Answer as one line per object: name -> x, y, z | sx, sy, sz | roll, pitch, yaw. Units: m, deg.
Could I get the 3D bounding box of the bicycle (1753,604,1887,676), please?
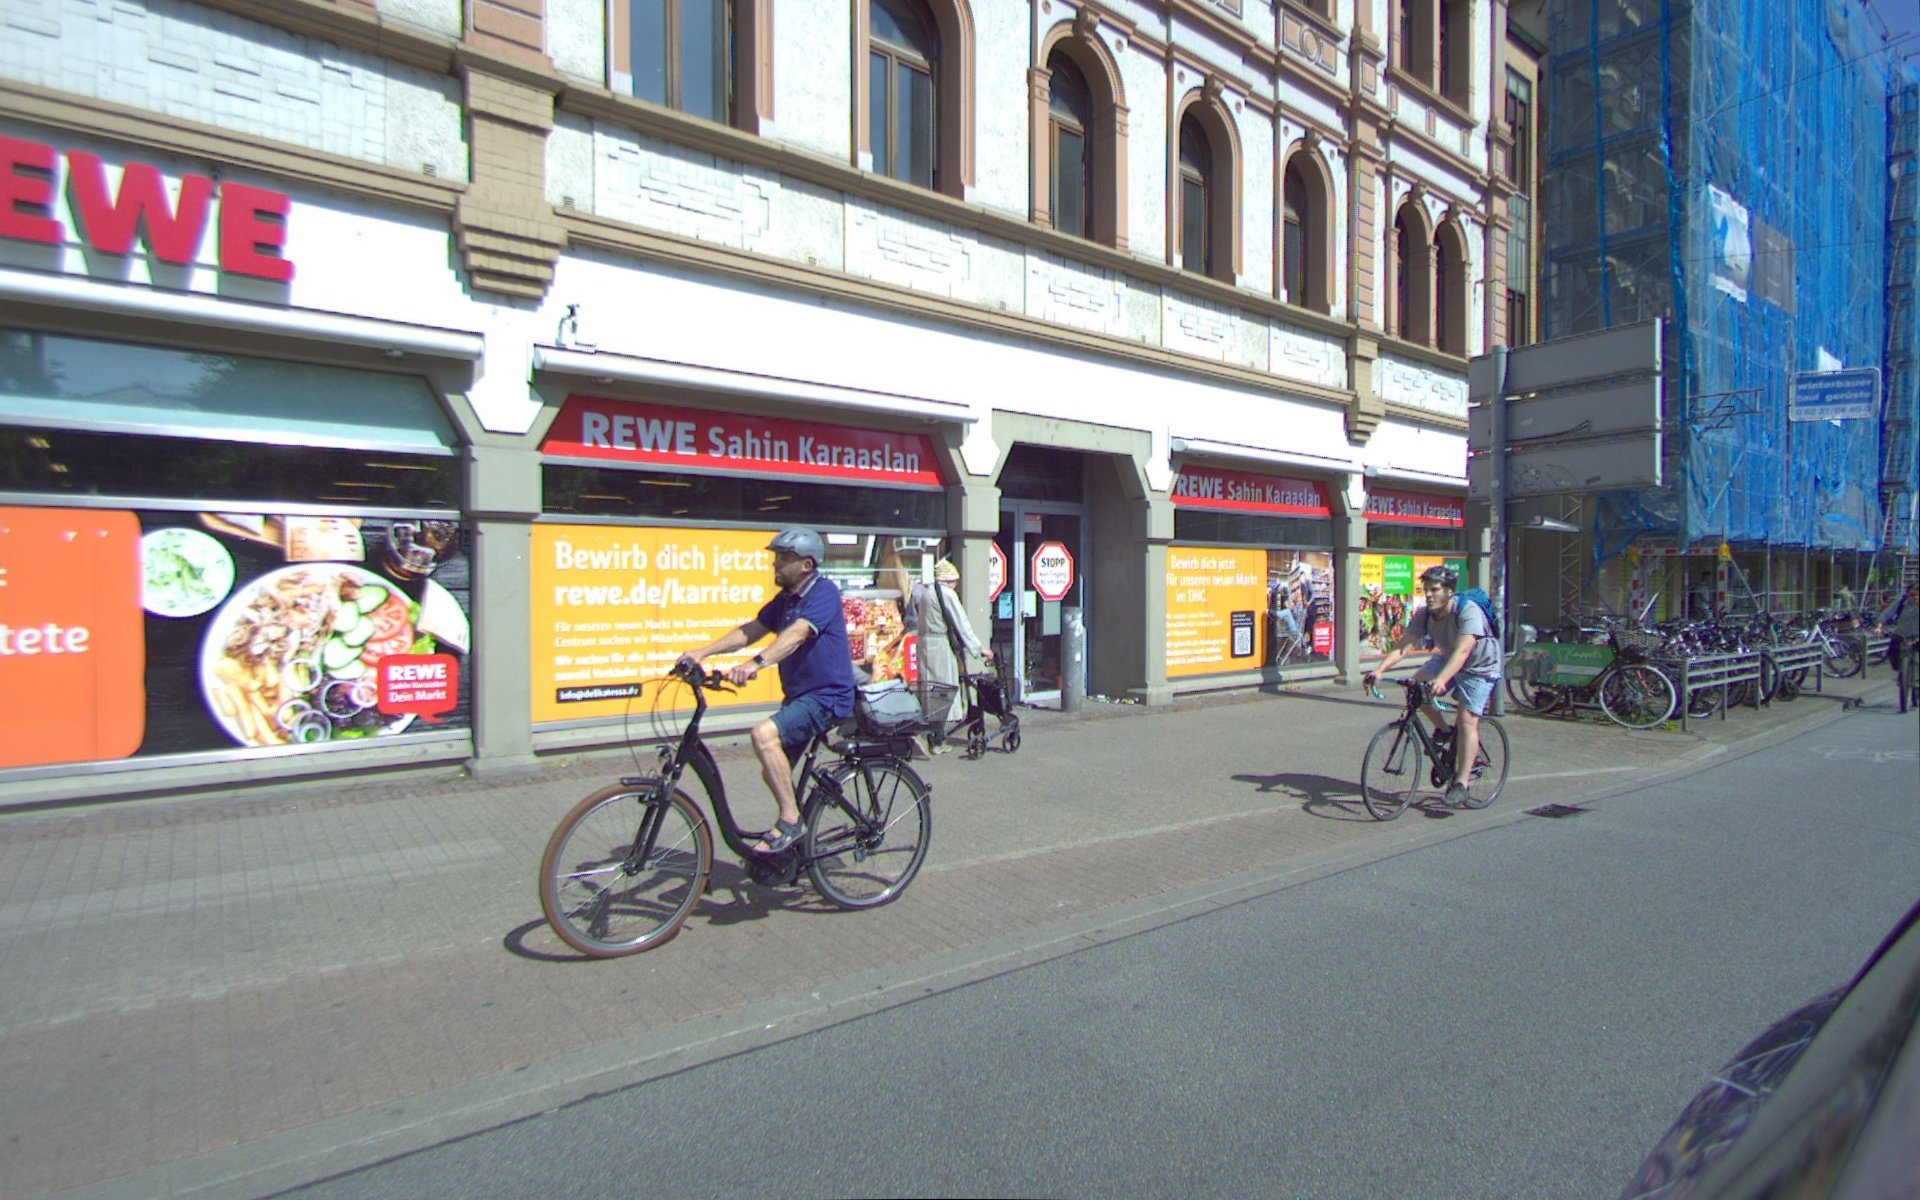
bicycle -> 15.090, 0.681, 17.793 | 0.597, 1.193, 1.697 | -1, 0, -38

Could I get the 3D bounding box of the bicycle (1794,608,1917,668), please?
bicycle -> 17.364, 0.713, 19.658 | 0.597, 1.101, 1.697 | -1, 0, -38

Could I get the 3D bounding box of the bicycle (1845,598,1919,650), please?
bicycle -> 22.043, 0.562, 23.841 | 0.597, 1.193, 1.697 | -1, 0, -38

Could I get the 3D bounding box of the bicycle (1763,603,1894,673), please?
bicycle -> 15.654, 0.658, 18.281 | 0.597, 1.193, 1.697 | -1, 0, -38

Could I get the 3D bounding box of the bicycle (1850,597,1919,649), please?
bicycle -> 22.547, 0.545, 24.286 | 0.597, 1.193, 1.697 | -1, 0, -38

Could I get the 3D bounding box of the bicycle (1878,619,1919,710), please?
bicycle -> 13.048, 0.835, 13.646 | 1.865, 1.107, 0.735 | -2, -1, -41

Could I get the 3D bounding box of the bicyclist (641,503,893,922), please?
bicyclist -> -0.869, 0.431, 4.474 | 0.899, 1.637, 0.691 | -2, -1, -26

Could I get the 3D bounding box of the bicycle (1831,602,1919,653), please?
bicycle -> 20.908, 0.612, 22.914 | 0.597, 1.111, 1.697 | -1, 0, -38

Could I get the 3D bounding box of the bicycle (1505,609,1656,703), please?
bicycle -> 8.481, 0.737, 13.898 | 0.461, 1.193, 1.697 | -1, 0, -38

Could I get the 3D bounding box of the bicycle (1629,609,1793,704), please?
bicycle -> 10.076, 0.722, 13.635 | 0.451, 1.193, 1.697 | -1, 0, -38

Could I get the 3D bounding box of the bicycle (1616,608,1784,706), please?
bicycle -> 9.678, 0.718, 13.293 | 0.451, 1.193, 1.697 | -1, 0, -38

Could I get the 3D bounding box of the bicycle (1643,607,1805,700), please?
bicycle -> 10.498, 0.704, 13.958 | 0.504, 1.193, 1.697 | -1, 0, -38

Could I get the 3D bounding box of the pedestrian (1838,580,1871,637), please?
pedestrian -> 26.340, 0.246, 29.793 | 0.643, 1.622, 0.753 | -3, -1, 45

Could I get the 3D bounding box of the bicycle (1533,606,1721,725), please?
bicycle -> 7.736, 0.714, 11.801 | 0.597, 1.193, 1.698 | 0, 3, -38

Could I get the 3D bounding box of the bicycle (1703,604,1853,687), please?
bicycle -> 12.513, 0.667, 15.526 | 0.488, 1.193, 1.697 | -1, 0, -38

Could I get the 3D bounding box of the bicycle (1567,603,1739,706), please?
bicycle -> 8.625, 0.643, 12.661 | 0.461, 1.193, 1.697 | -1, 0, -38

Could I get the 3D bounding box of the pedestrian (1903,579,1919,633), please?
pedestrian -> 32.768, 0.199, 34.607 | 0.637, 1.799, 0.640 | -1, -1, -39

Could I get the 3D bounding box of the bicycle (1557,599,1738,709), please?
bicycle -> 8.243, 0.606, 12.196 | 0.597, 1.193, 1.698 | 0, 1, -38

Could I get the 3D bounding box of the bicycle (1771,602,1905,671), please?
bicycle -> 16.257, 0.652, 18.772 | 0.597, 1.193, 1.775 | -1, 0, -38

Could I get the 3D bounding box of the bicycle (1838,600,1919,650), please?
bicycle -> 21.460, 0.571, 23.351 | 0.597, 1.111, 1.697 | -1, 0, -38

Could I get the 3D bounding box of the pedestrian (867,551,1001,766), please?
pedestrian -> -0.223, 0.438, 8.518 | 0.822, 1.675, 0.757 | -2, 5, -40

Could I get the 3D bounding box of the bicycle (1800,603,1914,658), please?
bicycle -> 19.201, 0.643, 21.692 | 0.597, 1.123, 1.743 | -1, 0, -38

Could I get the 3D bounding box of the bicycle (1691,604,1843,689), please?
bicycle -> 12.091, 0.674, 15.208 | 0.482, 1.193, 1.697 | -1, 0, -38

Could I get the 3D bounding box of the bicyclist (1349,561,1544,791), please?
bicyclist -> 3.434, 0.486, 7.153 | 1.120, 1.481, 0.691 | -2, -1, -31

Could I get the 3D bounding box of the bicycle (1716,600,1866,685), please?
bicycle -> 12.996, 0.638, 15.871 | 0.597, 1.256, 1.697 | -1, 0, -38

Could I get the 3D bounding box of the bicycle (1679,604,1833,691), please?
bicycle -> 11.681, 0.675, 14.903 | 0.443, 1.193, 1.697 | -1, 0, -38

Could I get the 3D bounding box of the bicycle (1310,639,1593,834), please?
bicycle -> 3.519, 0.888, 7.189 | 2.088, 1.107, 0.737 | -2, -1, -30

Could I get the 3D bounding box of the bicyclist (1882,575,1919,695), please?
bicyclist -> 13.101, 0.453, 13.711 | 0.764, 1.597, 0.750 | -1, -1, -40

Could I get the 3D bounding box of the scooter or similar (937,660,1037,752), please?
scooter or similar -> 0.236, 0.916, 8.911 | 0.555, 0.657, 0.693 | -2, 5, -39

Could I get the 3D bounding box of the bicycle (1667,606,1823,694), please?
bicycle -> 11.290, 0.691, 14.602 | 0.455, 1.193, 1.697 | -1, 0, -38

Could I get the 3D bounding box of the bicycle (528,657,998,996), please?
bicycle -> -0.842, 0.866, 4.465 | 1.873, 1.107, 0.737 | -2, -1, -29

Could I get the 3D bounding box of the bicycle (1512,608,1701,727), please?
bicycle -> 7.246, 0.708, 11.421 | 0.597, 1.193, 1.698 | 0, 1, -38

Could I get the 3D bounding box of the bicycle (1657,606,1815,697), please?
bicycle -> 10.907, 0.695, 14.281 | 0.449, 1.193, 1.697 | -1, 0, -38
